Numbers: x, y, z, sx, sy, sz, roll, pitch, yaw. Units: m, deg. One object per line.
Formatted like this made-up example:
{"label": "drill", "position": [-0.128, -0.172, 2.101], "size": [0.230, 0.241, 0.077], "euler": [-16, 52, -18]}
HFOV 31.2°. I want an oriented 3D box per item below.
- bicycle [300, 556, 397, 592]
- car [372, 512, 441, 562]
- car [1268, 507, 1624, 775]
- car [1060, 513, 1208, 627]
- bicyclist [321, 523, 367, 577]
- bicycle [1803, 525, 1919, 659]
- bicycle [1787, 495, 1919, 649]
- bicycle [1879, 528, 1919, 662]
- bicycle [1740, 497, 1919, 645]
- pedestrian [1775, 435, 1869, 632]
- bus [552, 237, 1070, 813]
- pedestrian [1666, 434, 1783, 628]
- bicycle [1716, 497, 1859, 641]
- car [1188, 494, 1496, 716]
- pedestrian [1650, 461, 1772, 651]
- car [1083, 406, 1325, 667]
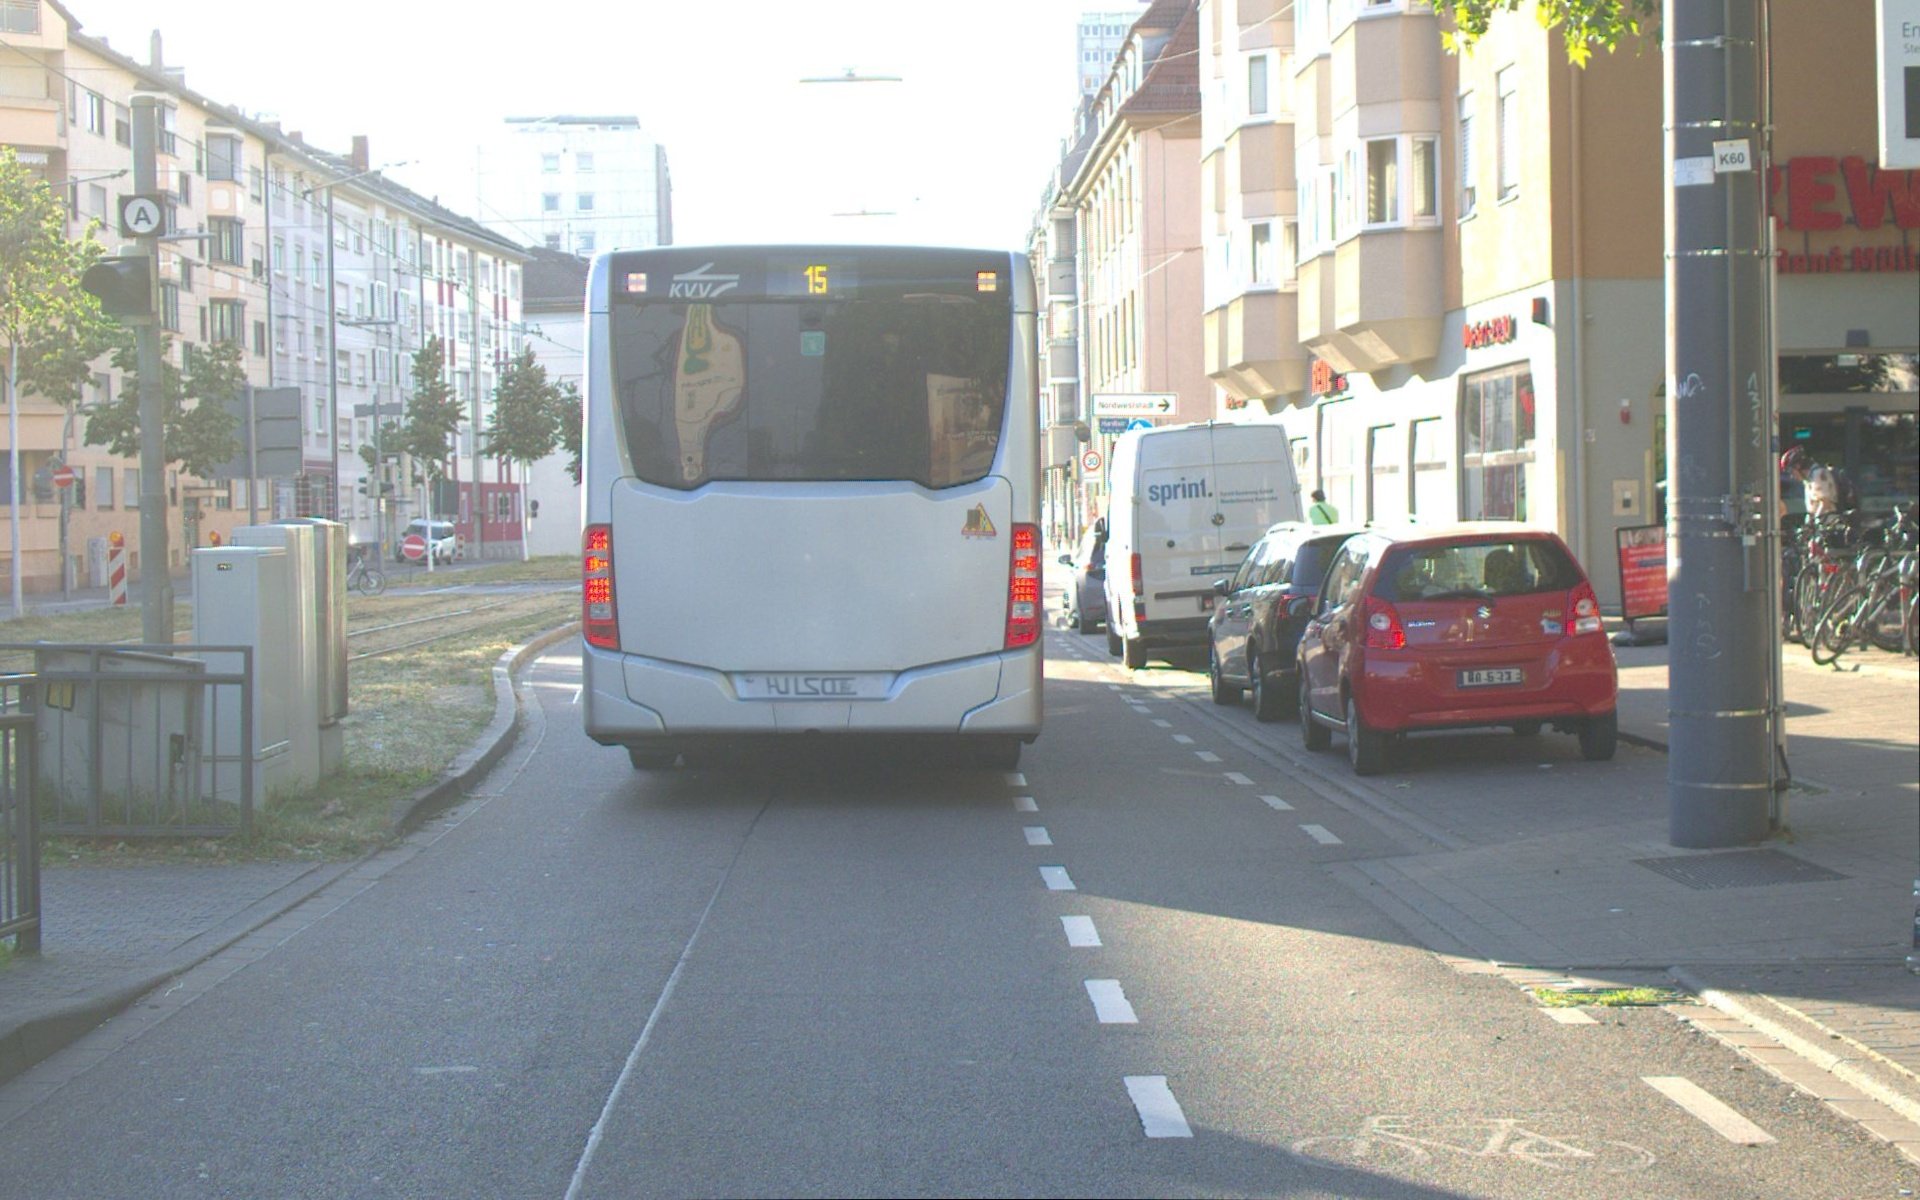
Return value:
{"label": "bicycle", "position": [-13.325, -0.563, 74.903], "size": [2.062, 0.730, 0.763], "euler": [-1, 1, -11]}
{"label": "car", "position": [-22.929, -2.606, 142.531], "size": [1.994, 2.007, 4.000], "euler": [-1, 1, 3]}
{"label": "car", "position": [3.007, 0.201, 21.928], "size": [1.569, 1.489, 3.626], "euler": [-3, 1, -2]}
{"label": "car", "position": [2.466, -0.462, 49.585], "size": [1.838, 1.531, 4.230], "euler": [-1, 1, -1]}
{"label": "bicyclist", "position": [-13.423, -1.091, 74.884], "size": [0.932, 1.157, 0.644], "euler": [-1, 1, -12]}
{"label": "bicycle", "position": [7.446, -0.079, 27.235], "size": [1.578, 1.010, 0.651], "euler": [-2, 2, -39]}
{"label": "bicycle", "position": [7.529, -0.243, 28.421], "size": [0.647, 1.222, 1.579], "euler": [0, 2, 42]}
{"label": "bicycle", "position": [7.885, -0.063, 26.516], "size": [1.675, 1.010, 0.651], "euler": [-2, 2, -39]}
{"label": "bicycle", "position": [7.470, -0.258, 29.505], "size": [1.578, 1.222, 0.651], "euler": [-2, 2, -39]}
{"label": "pedestrian", "position": [8.014, -0.625, 31.980], "size": [0.527, 1.775, 0.651], "euler": [-5, 2, -8]}
{"label": "bus", "position": [-0.852, -0.505, 22.752], "size": [2.738, 3.045, 8.854], "euler": [0, 1, -1]}
{"label": "pedestrian", "position": [7.178, -0.655, 32.290], "size": [0.806, 1.745, 0.768], "euler": [-4, 2, -1]}
{"label": "bicycle", "position": [7.287, -0.284, 30.241], "size": [1.516, 1.222, 0.403], "euler": [-2, 2, -41]}
{"label": "car", "position": [2.972, -0.015, 27.671], "size": [1.696, 1.525, 4.653], "euler": [-4, 1, -2]}
{"label": "pedestrian", "position": [6.722, -0.407, 30.817], "size": [0.659, 1.631, 0.990], "euler": [-5, 2, -8]}
{"label": "car", "position": [2.621, -0.720, 38.306], "size": [2.017, 2.542, 5.785], "euler": [-4, 1, -1]}
